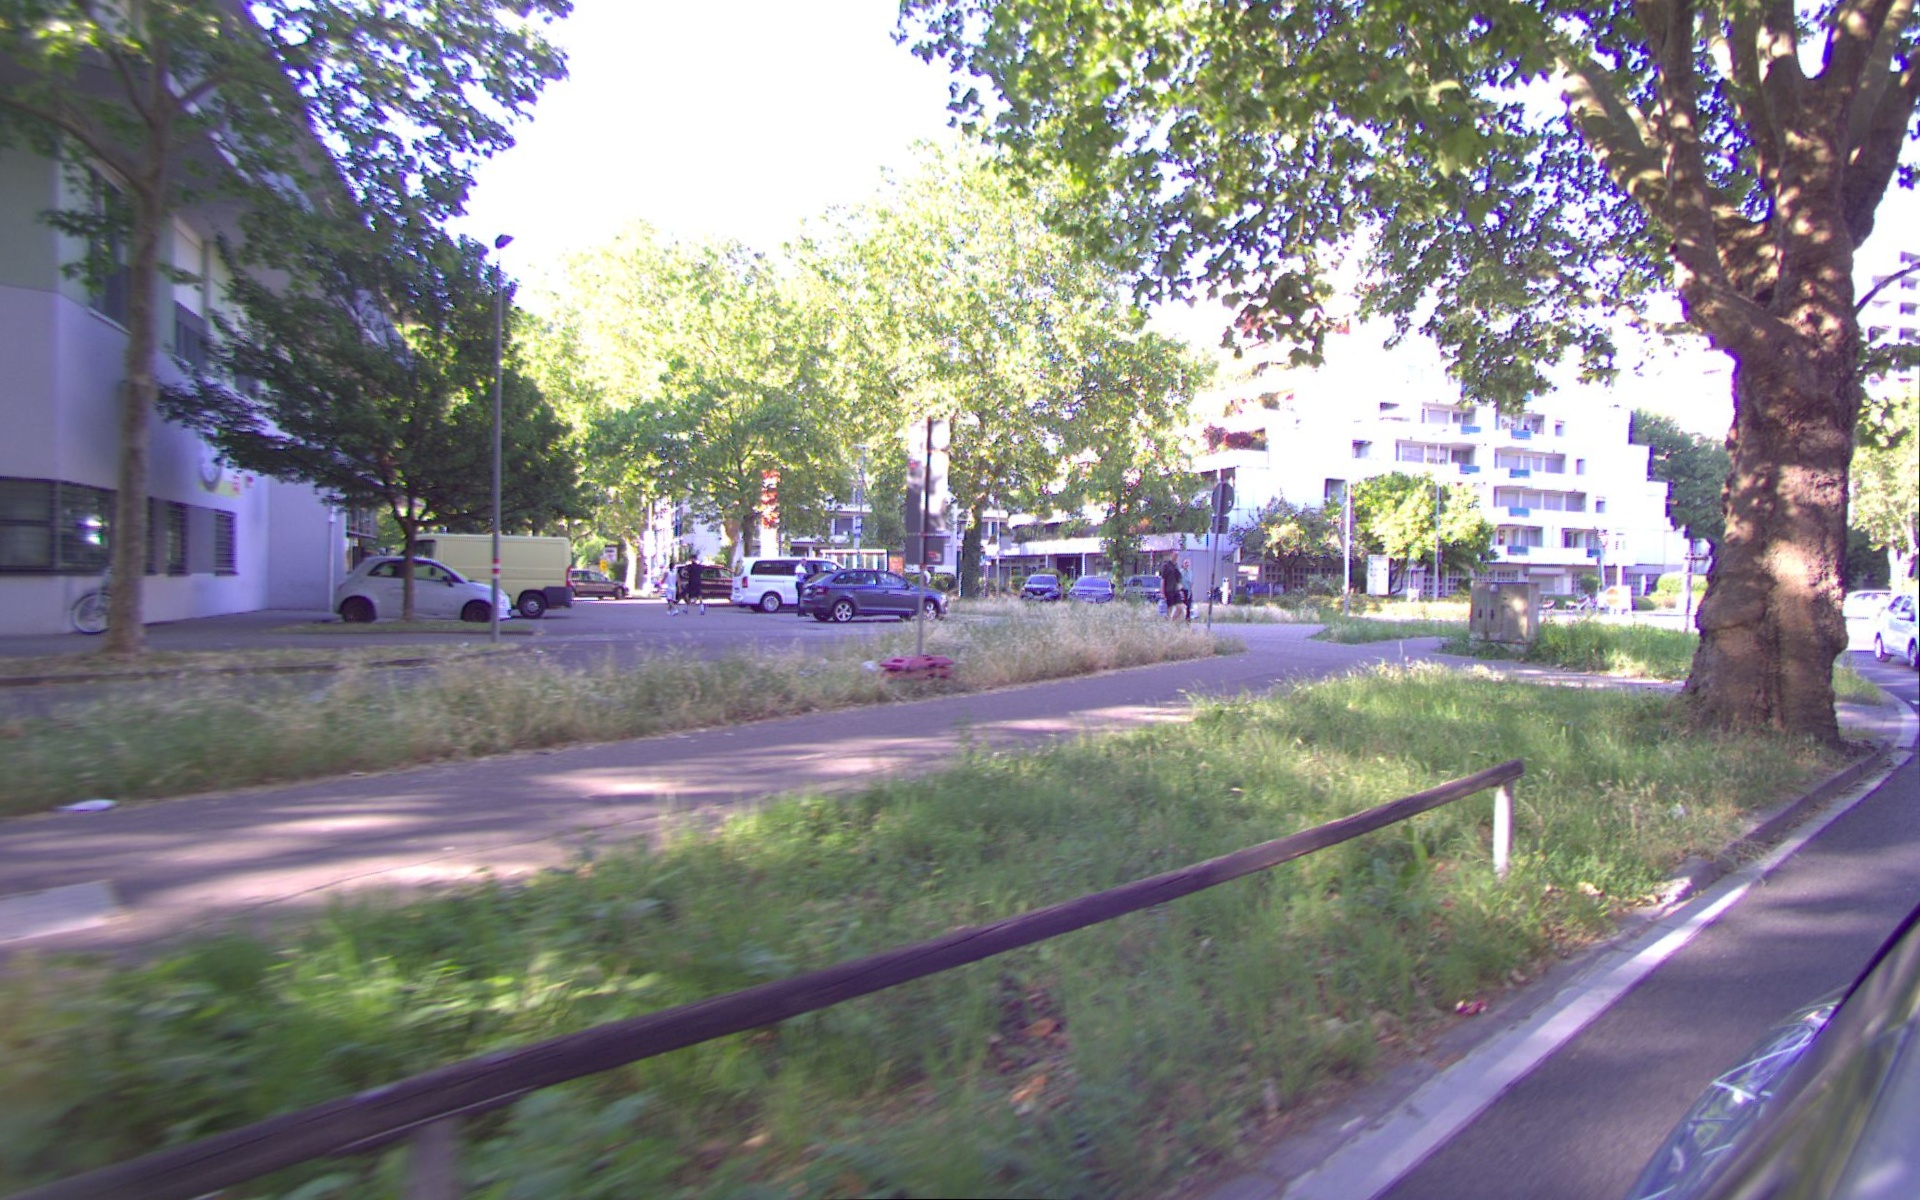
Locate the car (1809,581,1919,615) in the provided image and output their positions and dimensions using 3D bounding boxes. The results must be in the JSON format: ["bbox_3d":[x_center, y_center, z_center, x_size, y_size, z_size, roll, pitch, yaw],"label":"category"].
[{"bbox_3d":[43.815,-0.119,48.769,4.171,1.530,1.782,2,2,30],"label":"car"}]

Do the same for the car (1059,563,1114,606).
[{"bbox_3d":[5.440,-0.622,43.016,1.801,1.607,4.351,3,0,13],"label":"car"}]

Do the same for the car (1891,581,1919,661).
[{"bbox_3d":[19.329,0.391,19.520,3.474,1.471,1.653,0,2,-42],"label":"car"}]

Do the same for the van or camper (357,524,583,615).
[{"bbox_3d":[-13.054,-0.794,27.310,5.258,2.275,2.270,0,2,-23],"label":"van or camper"}]

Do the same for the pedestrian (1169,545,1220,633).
[{"bbox_3d":[5.218,-0.252,22.508,0.782,1.903,0.791,2,2,43],"label":"pedestrian"}]

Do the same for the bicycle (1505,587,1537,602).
[{"bbox_3d":[33.638,-0.317,60.670,1.666,0.848,0.465,1,2,-6],"label":"bicycle"}]

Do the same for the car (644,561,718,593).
[{"bbox_3d":[-16.690,-1.426,60.766,1.982,1.820,4.070,0,2,29],"label":"car"}]

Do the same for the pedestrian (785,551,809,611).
[{"bbox_3d":[-4.906,-0.568,30.435,0.521,1.773,0.561,-2,2,-30],"label":"pedestrian"}]

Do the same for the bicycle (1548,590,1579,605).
[{"bbox_3d":[35.992,-0.157,60.360,1.561,0.794,0.460,2,1,27],"label":"bicycle"}]

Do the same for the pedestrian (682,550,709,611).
[{"bbox_3d":[-8.158,-0.600,31.192,0.672,1.832,0.966,0,1,-23],"label":"pedestrian"}]

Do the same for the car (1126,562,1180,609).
[{"bbox_3d":[7.908,-0.543,41.240,1.910,1.680,4.458,3,0,13],"label":"car"}]

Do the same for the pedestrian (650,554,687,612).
[{"bbox_3d":[-8.767,-0.516,30.387,0.930,1.719,0.885,0,1,-25],"label":"pedestrian"}]

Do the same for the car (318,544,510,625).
[{"bbox_3d":[-11.784,-0.322,22.066,3.484,1.473,1.679,4,0,-25],"label":"car"}]

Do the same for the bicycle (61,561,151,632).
[{"bbox_3d":[-13.191,-0.082,15.681,0.576,1.030,1.684,1,2,-22],"label":"bicycle"}]

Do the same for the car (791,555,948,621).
[{"bbox_3d":[-2.469,-0.316,27.809,3.906,1.542,1.678,4,0,-30],"label":"car"}]

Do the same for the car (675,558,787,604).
[{"bbox_3d":[-10.394,-0.843,46.070,1.996,1.798,4.558,3,0,45],"label":"car"}]

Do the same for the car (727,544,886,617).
[{"bbox_3d":[-5.258,-0.655,34.774,4.947,2.123,2.005,4,0,-25],"label":"car"}]

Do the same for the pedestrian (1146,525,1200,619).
[{"bbox_3d":[4.575,-0.604,21.734,0.835,1.956,0.770,2,1,42],"label":"pedestrian"}]

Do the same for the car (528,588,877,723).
[{"bbox_3d":[-3.382,0.629,14.014,1.838,1.565,4.457,0,0,41],"label":"car"}]

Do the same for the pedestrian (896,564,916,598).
[{"bbox_3d":[-2.687,-0.953,50.015,0.739,1.682,0.623,2,1,33],"label":"pedestrian"}]

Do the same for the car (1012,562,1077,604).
[{"bbox_3d":[3.826,-0.729,45.176,1.850,1.659,3.973,3,0,20],"label":"car"}]

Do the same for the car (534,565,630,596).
[{"bbox_3d":[-18.263,-0.944,49.001,1.860,1.442,3.928,2,2,42],"label":"car"}]
